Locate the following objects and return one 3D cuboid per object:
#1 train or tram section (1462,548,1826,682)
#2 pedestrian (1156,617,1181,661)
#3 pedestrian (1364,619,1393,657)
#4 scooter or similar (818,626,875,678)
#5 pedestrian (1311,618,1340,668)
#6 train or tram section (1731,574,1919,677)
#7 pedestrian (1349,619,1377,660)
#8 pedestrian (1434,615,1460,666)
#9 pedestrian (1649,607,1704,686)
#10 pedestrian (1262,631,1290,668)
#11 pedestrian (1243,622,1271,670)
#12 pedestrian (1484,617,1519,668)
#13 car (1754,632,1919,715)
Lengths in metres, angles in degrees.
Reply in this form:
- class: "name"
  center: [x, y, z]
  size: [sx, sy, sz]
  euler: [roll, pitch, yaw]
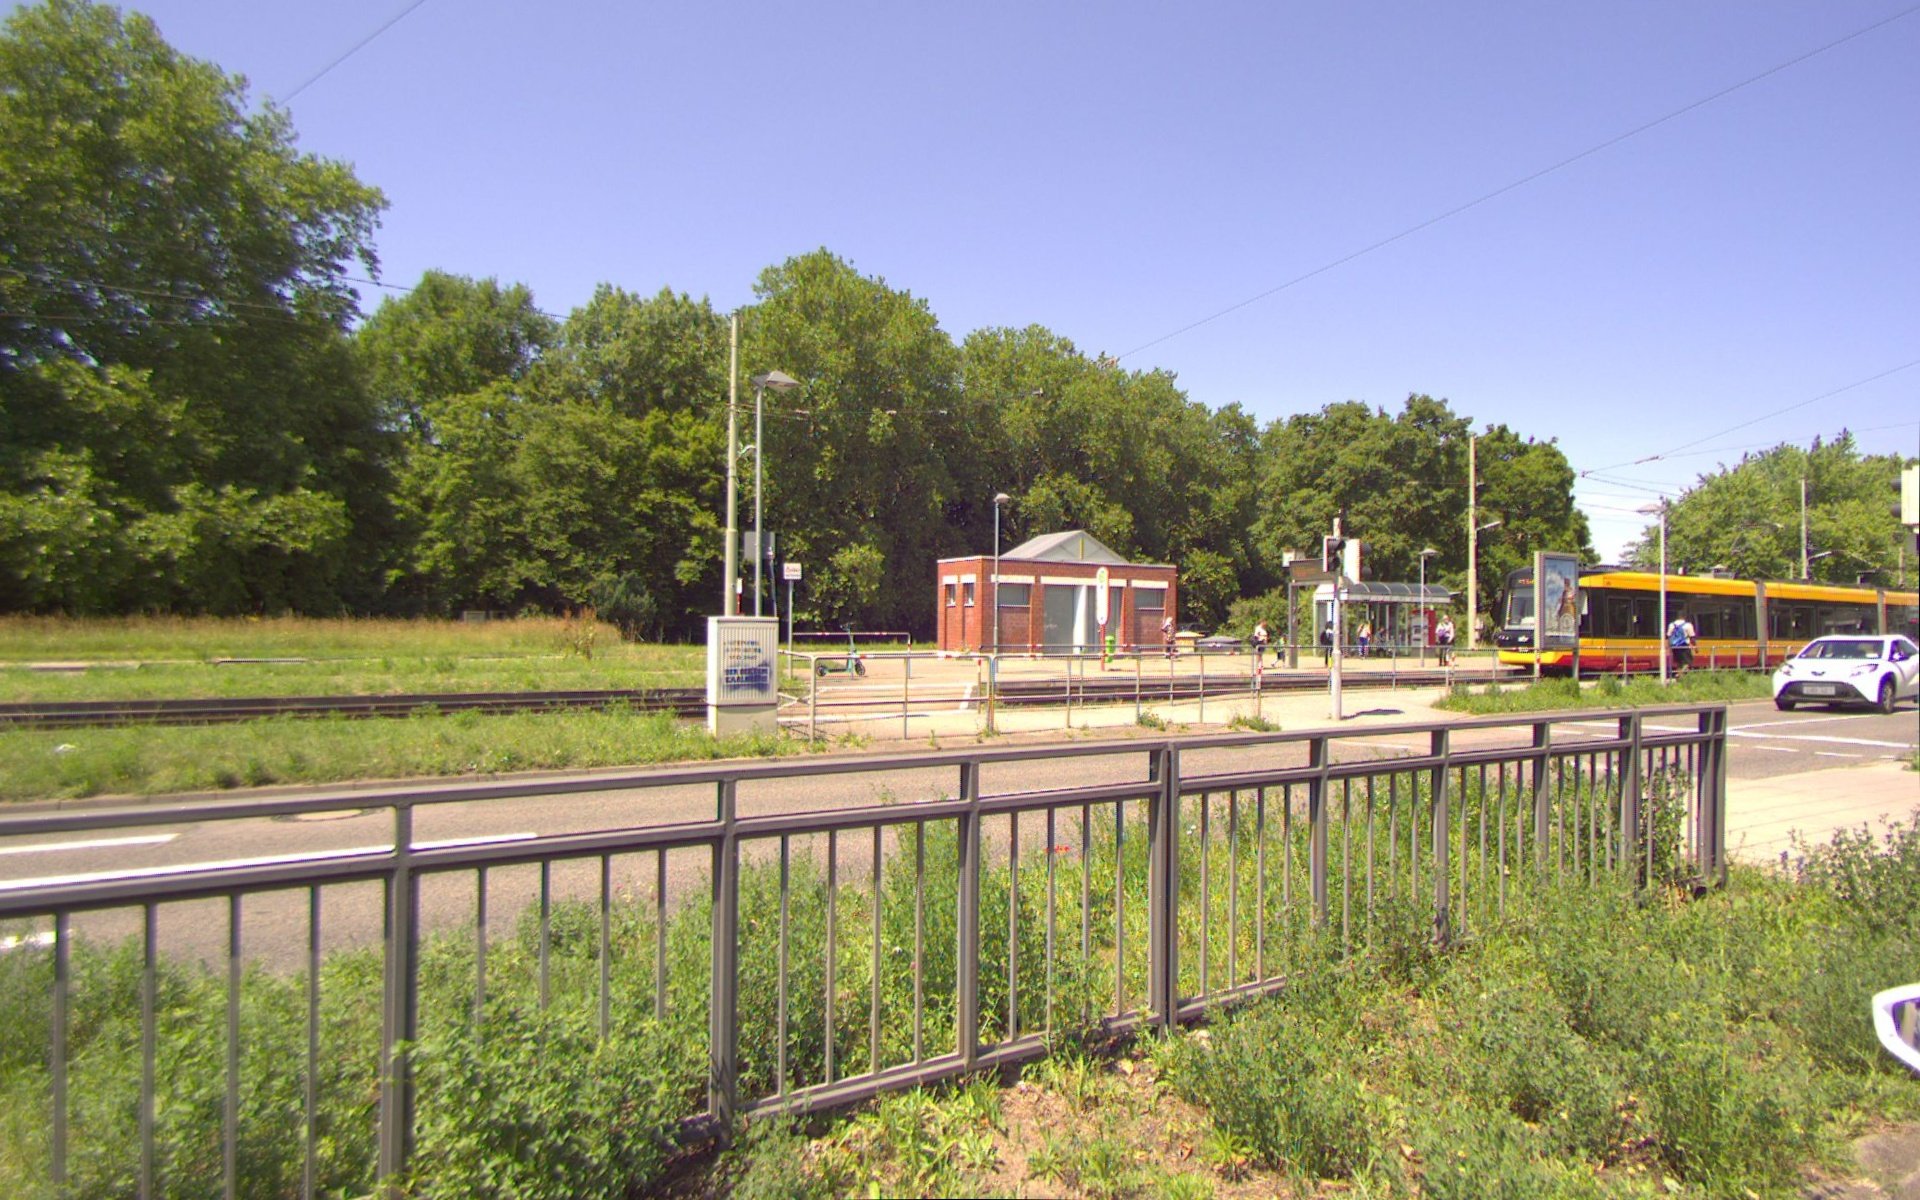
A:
- class: "train or tram section"
  center: [25.044, 0.655, 35.923]
  size: [18.281, 3.984, 3.200]
  euler: [1, -1, -30]
- class: "pedestrian"
  center: [7.137, 1.328, 34.432]
  size: [0.563, 1.499, 0.636]
  euler: [1, -1, -30]
- class: "pedestrian"
  center: [17.244, 1.572, 41.370]
  size: [0.710, 1.531, 0.841]
  euler: [1, -1, -19]
- class: "scooter or similar"
  center: [-2.638, 1.201, 23.447]
  size: [1.217, 1.183, 0.508]
  euler: [1, -1, -30]
- class: "pedestrian"
  center: [11.816, 1.388, 32.442]
  size: [0.688, 1.575, 0.629]
  euler: [1, -1, -42]
- class: "train or tram section"
  center: [40.490, 1.185, 45.303]
  size: [18.300, 3.984, 3.197]
  euler: [1, -1, -33]
- class: "pedestrian"
  center: [15.840, 1.546, 39.501]
  size: [0.799, 1.611, 0.668]
  euler: [1, -1, -30]
- class: "pedestrian"
  center: [17.724, 1.476, 36.568]
  size: [0.707, 1.824, 0.845]
  euler: [0, -1, 17]
- class: "pedestrian"
  center: [17.322, 1.115, 24.294]
  size: [0.832, 1.802, 0.714]
  euler: [-1, 5, -30]
- class: "pedestrian"
  center: [10.091, 1.575, 32.086]
  size: [0.563, 1.139, 0.636]
  euler: [1, -1, -30]
- class: "pedestrian"
  center: [9.245, 1.426, 31.279]
  size: [0.576, 1.476, 0.636]
  euler: [1, -1, -30]
- class: "pedestrian"
  center: [20.032, 1.549, 37.150]
  size: [0.832, 1.802, 0.714]
  euler: [-1, 5, -30]
- class: "car"
  center: [18.066, 1.422, 20.408]
  size: [3.747, 1.514, 1.836]
  euler: [1, -1, -30]
